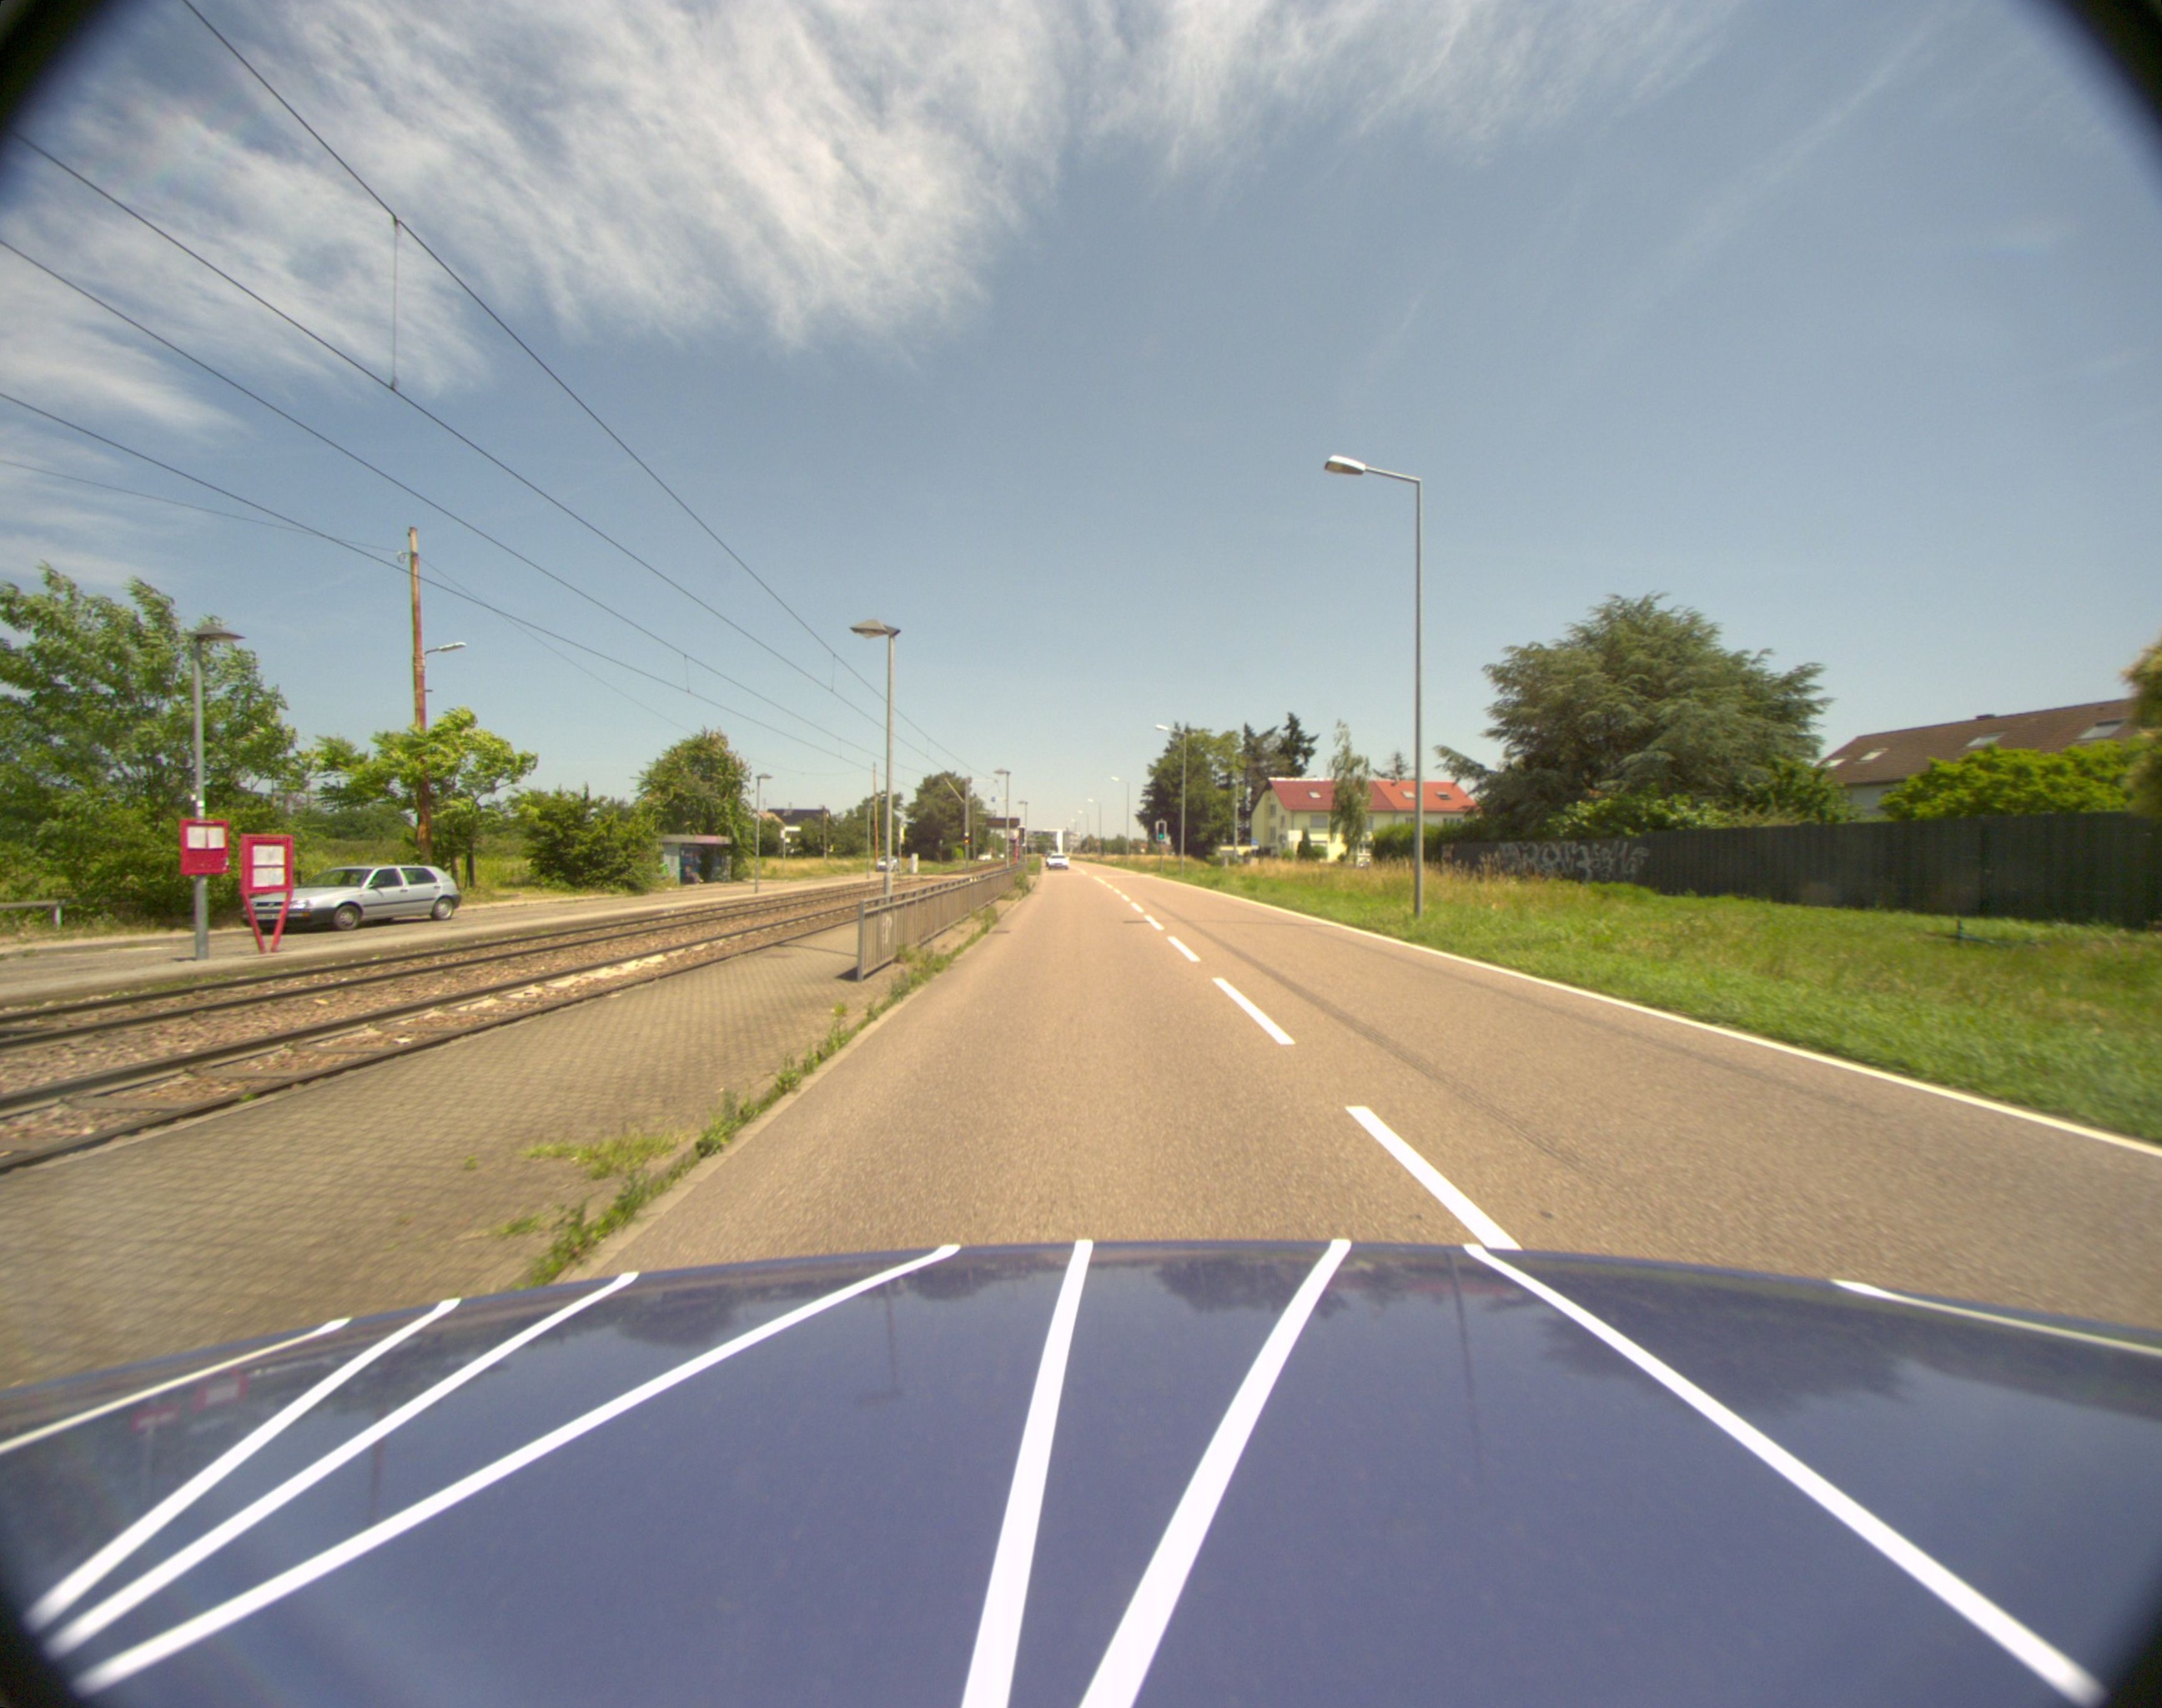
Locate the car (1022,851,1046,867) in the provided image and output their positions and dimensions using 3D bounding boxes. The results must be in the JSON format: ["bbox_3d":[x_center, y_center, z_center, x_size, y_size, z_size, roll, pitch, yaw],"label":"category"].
[{"bbox_3d":[-4.820,0.467,77.996,1.998,1.576,4.000,-1,1,2],"label":"car"}]

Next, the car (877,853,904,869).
[{"bbox_3d":[-18.271,0.642,73.078,1.717,1.480,4.000,-1,1,-2],"label":"car"}]

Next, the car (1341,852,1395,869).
[{"bbox_3d":[25.334,0.573,67.238,3.999,1.346,1.999,-1,1,-6],"label":"car"}]

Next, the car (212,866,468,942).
[{"bbox_3d":[-16.698,1.049,17.468,1.944,1.414,3.999,-1,1,0],"label":"car"}]

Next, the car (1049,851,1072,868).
[{"bbox_3d":[-1.815,0.510,69.240,1.856,1.447,3.706,-1,1,2],"label":"car"}]

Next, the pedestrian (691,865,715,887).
[{"bbox_3d":[-18.999,1.086,38.205,0.810,1.080,0.719,0,1,7],"label":"pedestrian"}]

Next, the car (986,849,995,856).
[{"bbox_3d":[-24.529,-0.356,206.311,1.863,1.816,4.585,-1,1,-2],"label":"car"}]
